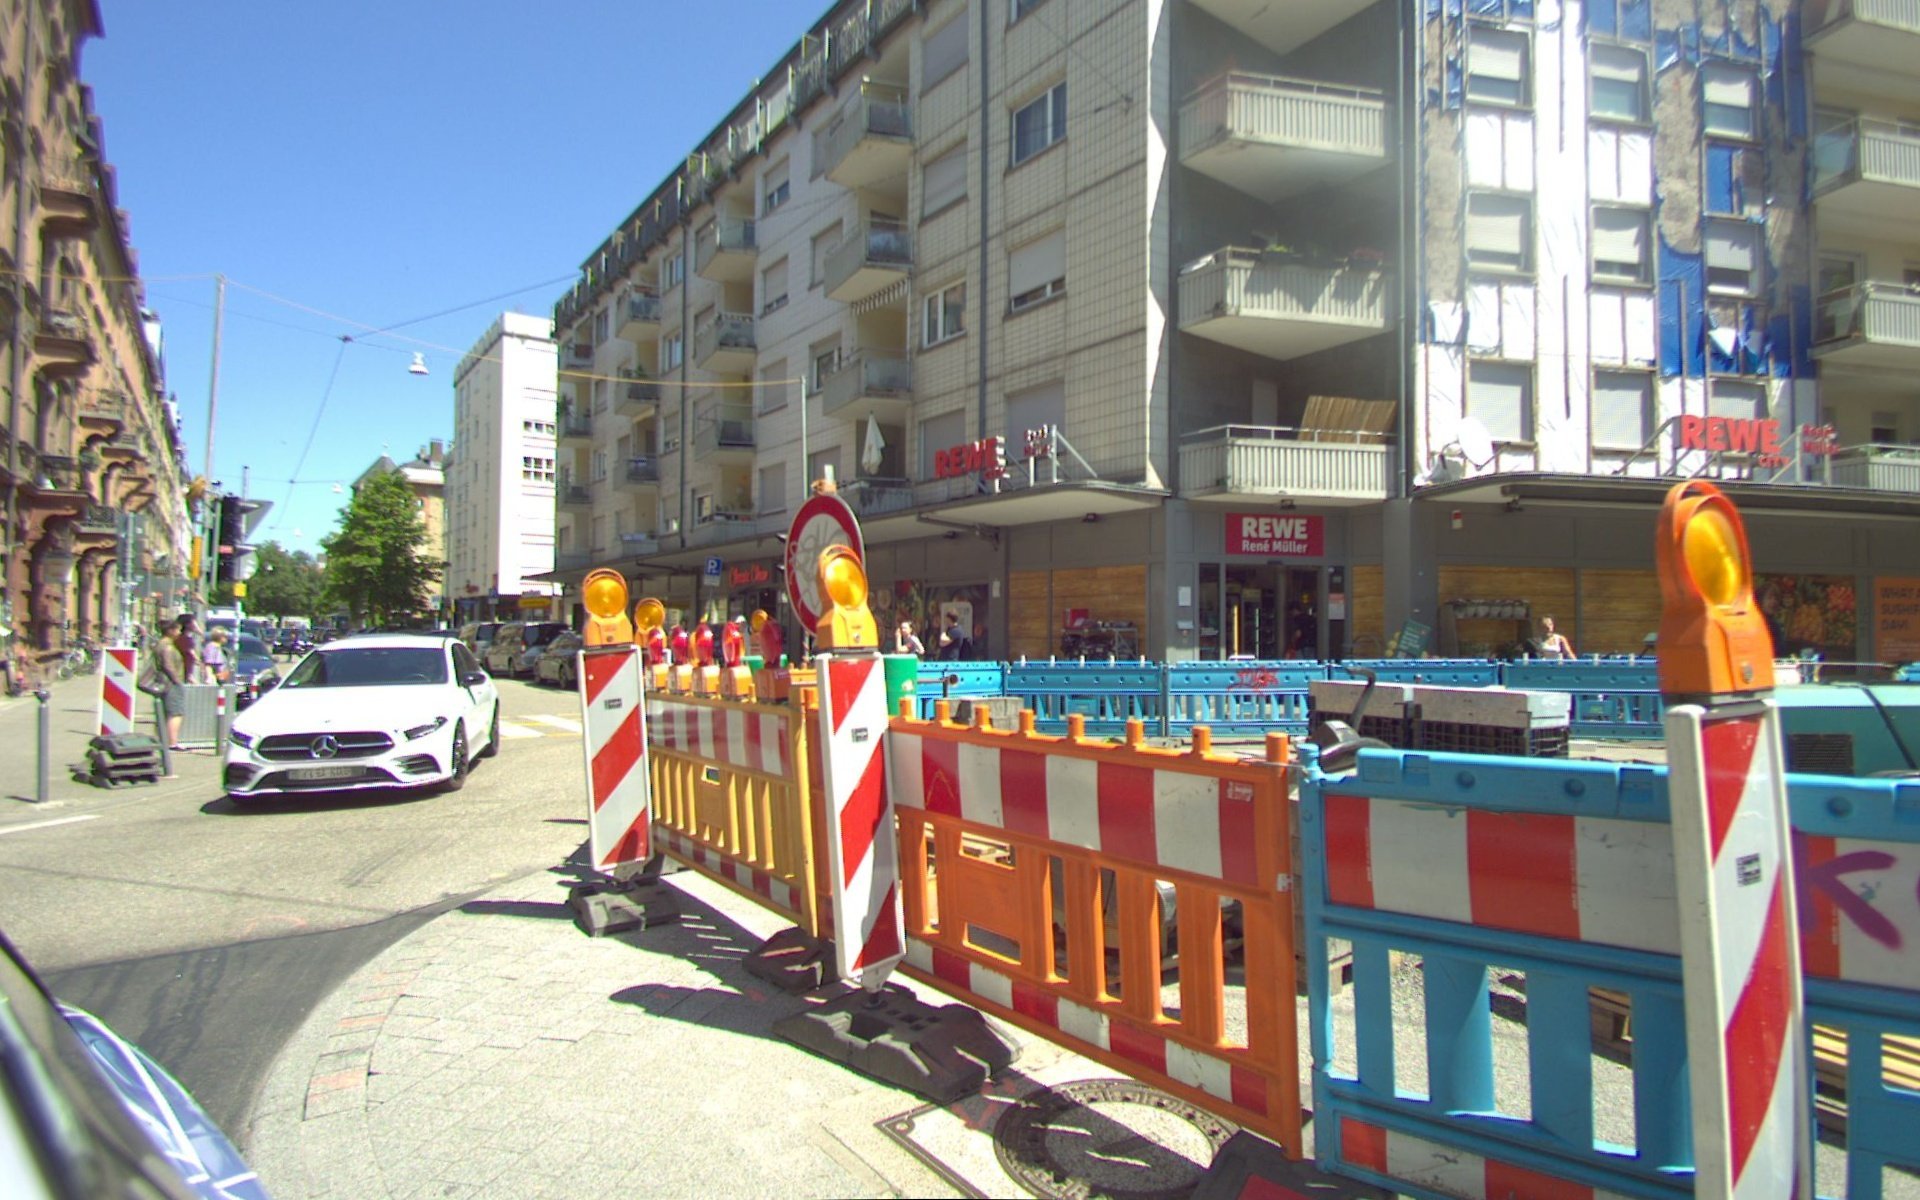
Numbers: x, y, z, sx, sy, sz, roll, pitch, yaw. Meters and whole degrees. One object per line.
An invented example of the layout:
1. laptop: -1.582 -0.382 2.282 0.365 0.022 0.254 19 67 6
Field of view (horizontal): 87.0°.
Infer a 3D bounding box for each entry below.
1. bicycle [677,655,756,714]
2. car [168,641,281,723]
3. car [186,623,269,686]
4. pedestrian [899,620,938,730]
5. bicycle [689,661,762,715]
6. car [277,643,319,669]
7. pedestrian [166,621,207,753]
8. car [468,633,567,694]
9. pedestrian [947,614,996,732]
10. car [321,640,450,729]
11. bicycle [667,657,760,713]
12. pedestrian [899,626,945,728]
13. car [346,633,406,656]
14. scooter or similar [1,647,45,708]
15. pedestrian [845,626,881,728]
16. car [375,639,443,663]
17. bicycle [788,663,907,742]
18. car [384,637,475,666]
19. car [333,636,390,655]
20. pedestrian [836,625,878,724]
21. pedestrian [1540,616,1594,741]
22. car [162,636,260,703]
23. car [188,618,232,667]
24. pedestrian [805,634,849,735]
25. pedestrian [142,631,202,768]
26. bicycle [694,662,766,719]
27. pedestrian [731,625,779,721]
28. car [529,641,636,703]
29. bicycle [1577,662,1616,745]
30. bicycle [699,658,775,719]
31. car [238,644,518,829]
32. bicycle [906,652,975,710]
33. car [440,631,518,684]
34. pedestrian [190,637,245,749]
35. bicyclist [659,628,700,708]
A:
1. bicycle: -5.235 1.802 21.818 1.563 1.148 0.528 -1 -1 -38
2. car: -14.503 1.568 20.068 1.605 1.443 3.669 3 -3 -34
3. car: -22.346 1.627 30.800 1.801 1.780 4.346 4 -4 -38
4. pedestrian: -0.633 1.122 15.362 0.384 1.630 0.476 2 -3 -39
5. bicycle: -4.957 1.842 21.412 1.475 1.038 0.398 -1 -1 -41
6. car: -37.325 3.128 57.020 1.721 1.401 4.009 2 -3 -36
7. pedestrian: -10.111 1.118 13.229 0.328 1.688 0.403 2 -3 -30
8. car: -14.485 1.998 32.991 1.766 1.825 4.707 1 -2 -39
9. pedestrian: 0.182 1.155 16.173 0.502 1.834 0.601 2 -3 -39
10. car: -11.366 1.566 19.890 1.752 1.480 4.009 0 -1 -36
11. bicycle: -5.460 1.866 22.456 1.908 1.100 0.606 -1 -1 -35
12. pedestrian: -0.628 1.263 16.822 0.502 1.645 0.601 2 -3 -39
13. car: -44.971 3.418 77.935 3.824 1.760 1.656 2 -3 -37
14. scooter or similar: -19.059 1.560 20.601 0.288 1.186 1.276 1 -3 -27
15. pedestrian: -1.533 1.202 16.000 0.489 1.577 0.460 -1 -2 -10
16. car: -37.085 3.436 68.133 3.824 1.541 1.656 2 -3 -37
17. bicycle: -1.753 1.580 15.741 1.780 1.128 0.469 -1 -2 -15
18. car: -27.154 2.604 51.837 3.849 1.436 1.809 0 -2 11
19. car: -48.615 3.677 82.227 3.824 1.507 1.656 2 -3 -37
20. pedestrian: -1.907 1.359 18.701 0.502 1.784 0.601 2 -3 -39
21. pedestrian: 8.581 1.098 14.324 0.385 1.728 0.589 0 -2 3
22. car: -18.110 1.624 24.403 1.703 1.443 4.494 4 -4 -38
23. car: -44.826 2.503 60.485 2.035 2.723 5.050 0 -1 -36
24. pedestrian: -2.222 1.394 16.933 0.534 1.645 0.512 2 -3 -39
25. pedestrian: -9.300 1.152 11.958 0.453 1.572 0.480 2 -3 -30
26. bicycle: -4.725 1.846 20.821 1.429 1.044 0.336 -1 -1 -41
27. pedestrian: -3.833 1.347 18.915 0.647 1.740 0.634 2 -3 -39
28. car: -10.476 1.911 27.896 1.648 1.537 4.474 1 -2 -36
29. bicycle: 8.992 1.435 14.286 0.342 1.080 1.555 -1 -3 36
30. bicycle: -4.504 1.771 20.469 1.500 1.125 0.336 -1 -1 -41
31. car: -5.635 1.183 10.362 1.784 1.436 4.255 0 -2 -20
32. bicycle: -0.393 1.579 19.834 1.429 1.094 0.318 -3 -3 35
33. car: -18.159 2.124 38.086 1.765 1.843 4.911 1 -2 -36
34. pedestrian: -10.521 1.307 14.359 0.486 1.555 0.438 4 -4 -30
35. bicyclist: -6.287 1.499 22.652 0.614 1.719 0.981 0 -1 -32
